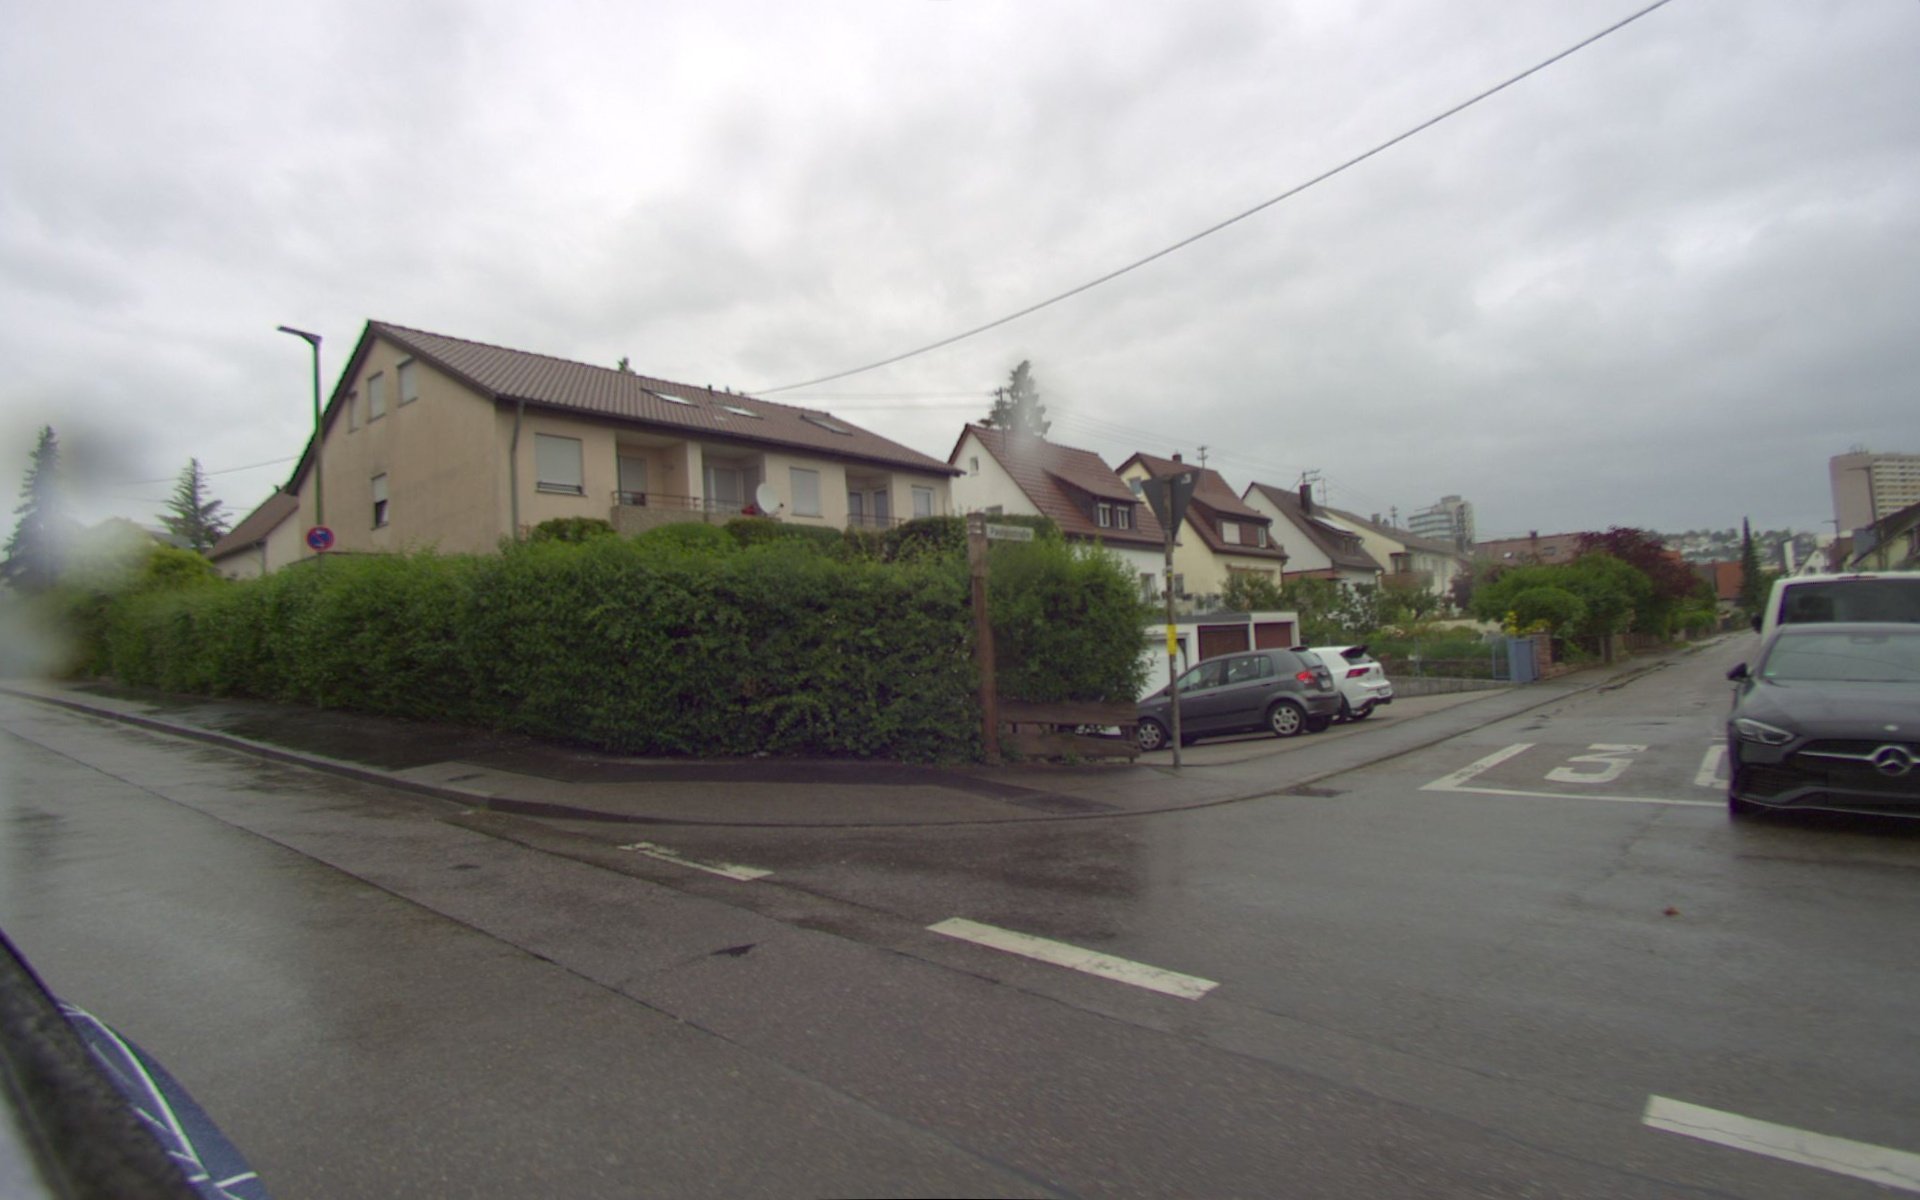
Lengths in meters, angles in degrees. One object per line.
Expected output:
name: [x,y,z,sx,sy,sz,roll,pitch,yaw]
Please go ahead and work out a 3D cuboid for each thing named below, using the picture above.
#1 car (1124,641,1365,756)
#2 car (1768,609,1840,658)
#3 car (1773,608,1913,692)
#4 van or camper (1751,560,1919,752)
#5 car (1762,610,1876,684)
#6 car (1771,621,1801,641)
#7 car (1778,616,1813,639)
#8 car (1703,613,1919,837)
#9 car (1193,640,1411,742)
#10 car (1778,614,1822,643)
car: [4.803,1.704,17.281,3.439,1.468,1.701,-13,-10,36]
car: [30.116,1.242,36.115,1.819,1.632,4.031,-3,-4,40]
car: [17.704,0.979,20.383,1.893,1.507,4.031,-3,-3,40]
van or camper: [10.961,0.620,12.248,1.934,1.945,4.501,-3,-3,40]
car: [20.751,1.114,24.491,1.893,1.621,4.031,-3,-3,40]
car: [66.358,2.544,81.309,1.747,1.489,4.048,-3,-4,40]
car: [57.100,1.894,69.140,1.747,1.489,4.031,-3,-4,40]
car: [7.406,0.830,8.181,1.893,1.409,4.534,-3,-3,40]
car: [6.447,1.745,19.227,3.439,1.449,1.627,-13,-10,36]
car: [46.772,1.635,56.335,1.747,1.489,4.031,-3,-4,40]
